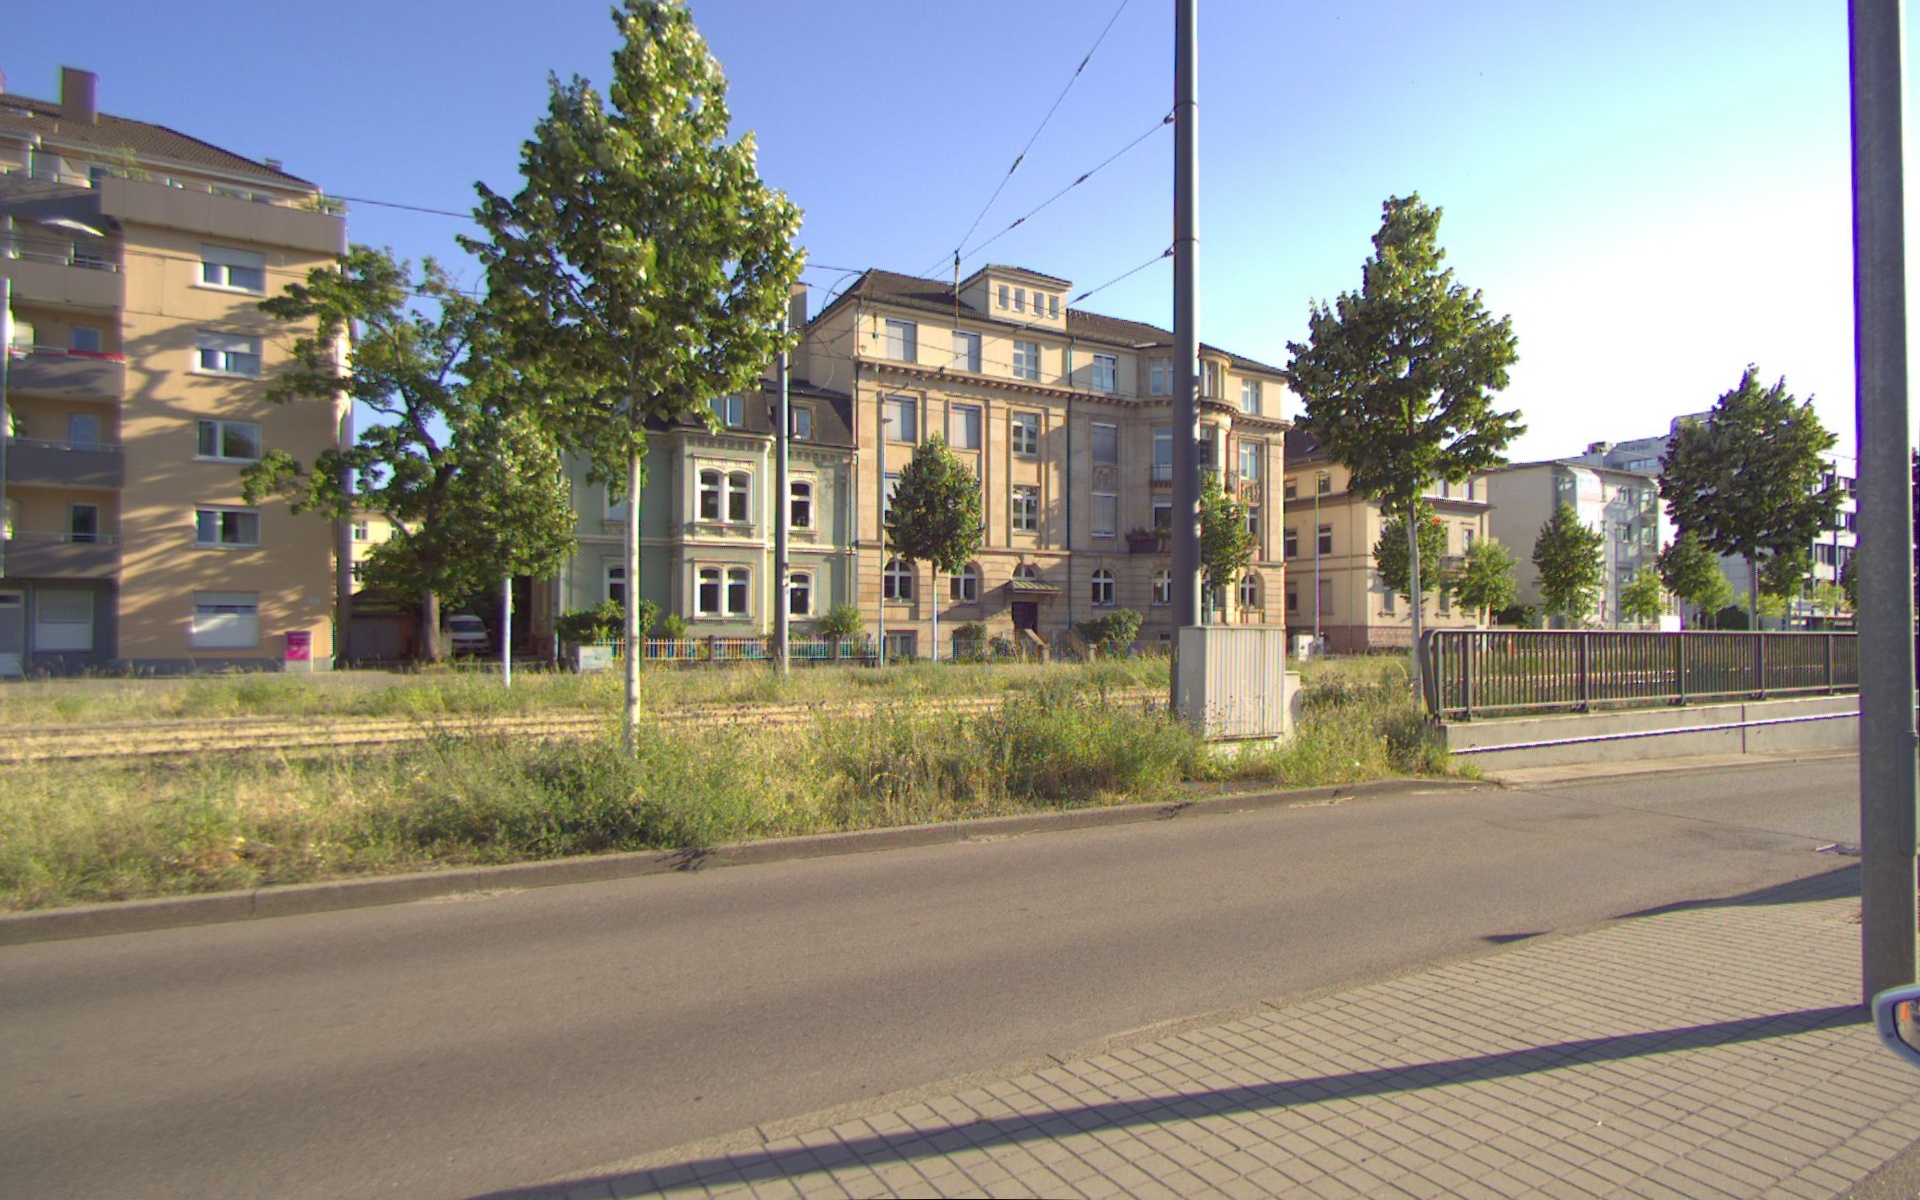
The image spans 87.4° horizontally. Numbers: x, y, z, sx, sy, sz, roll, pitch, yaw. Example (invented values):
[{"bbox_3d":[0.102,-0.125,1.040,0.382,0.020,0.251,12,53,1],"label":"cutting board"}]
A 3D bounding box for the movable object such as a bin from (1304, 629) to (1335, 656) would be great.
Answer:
[{"bbox_3d":[19.695,2.343,55.087,1.067,1.448,1.200,0,-2,-30],"label":"movable object such as a bin"}]

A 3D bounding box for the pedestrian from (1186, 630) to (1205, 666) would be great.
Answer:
[{"bbox_3d":[11.531,2.325,49.243,0.645,1.743,0.653,1,-1,-30],"label":"pedestrian"}]

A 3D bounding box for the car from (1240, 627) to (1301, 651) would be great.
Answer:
[{"bbox_3d":[21.066,2.635,68.278,1.661,1.488,3.970,2,-1,-28],"label":"car"}]

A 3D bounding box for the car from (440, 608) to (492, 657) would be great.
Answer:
[{"bbox_3d":[-22.184,1.454,45.058,1.975,2.073,3.972,1,-2,-27],"label":"car"}]

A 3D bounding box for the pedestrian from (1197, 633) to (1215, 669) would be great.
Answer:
[{"bbox_3d":[11.880,2.468,48.560,0.645,1.743,0.552,1,-1,-30],"label":"pedestrian"}]
